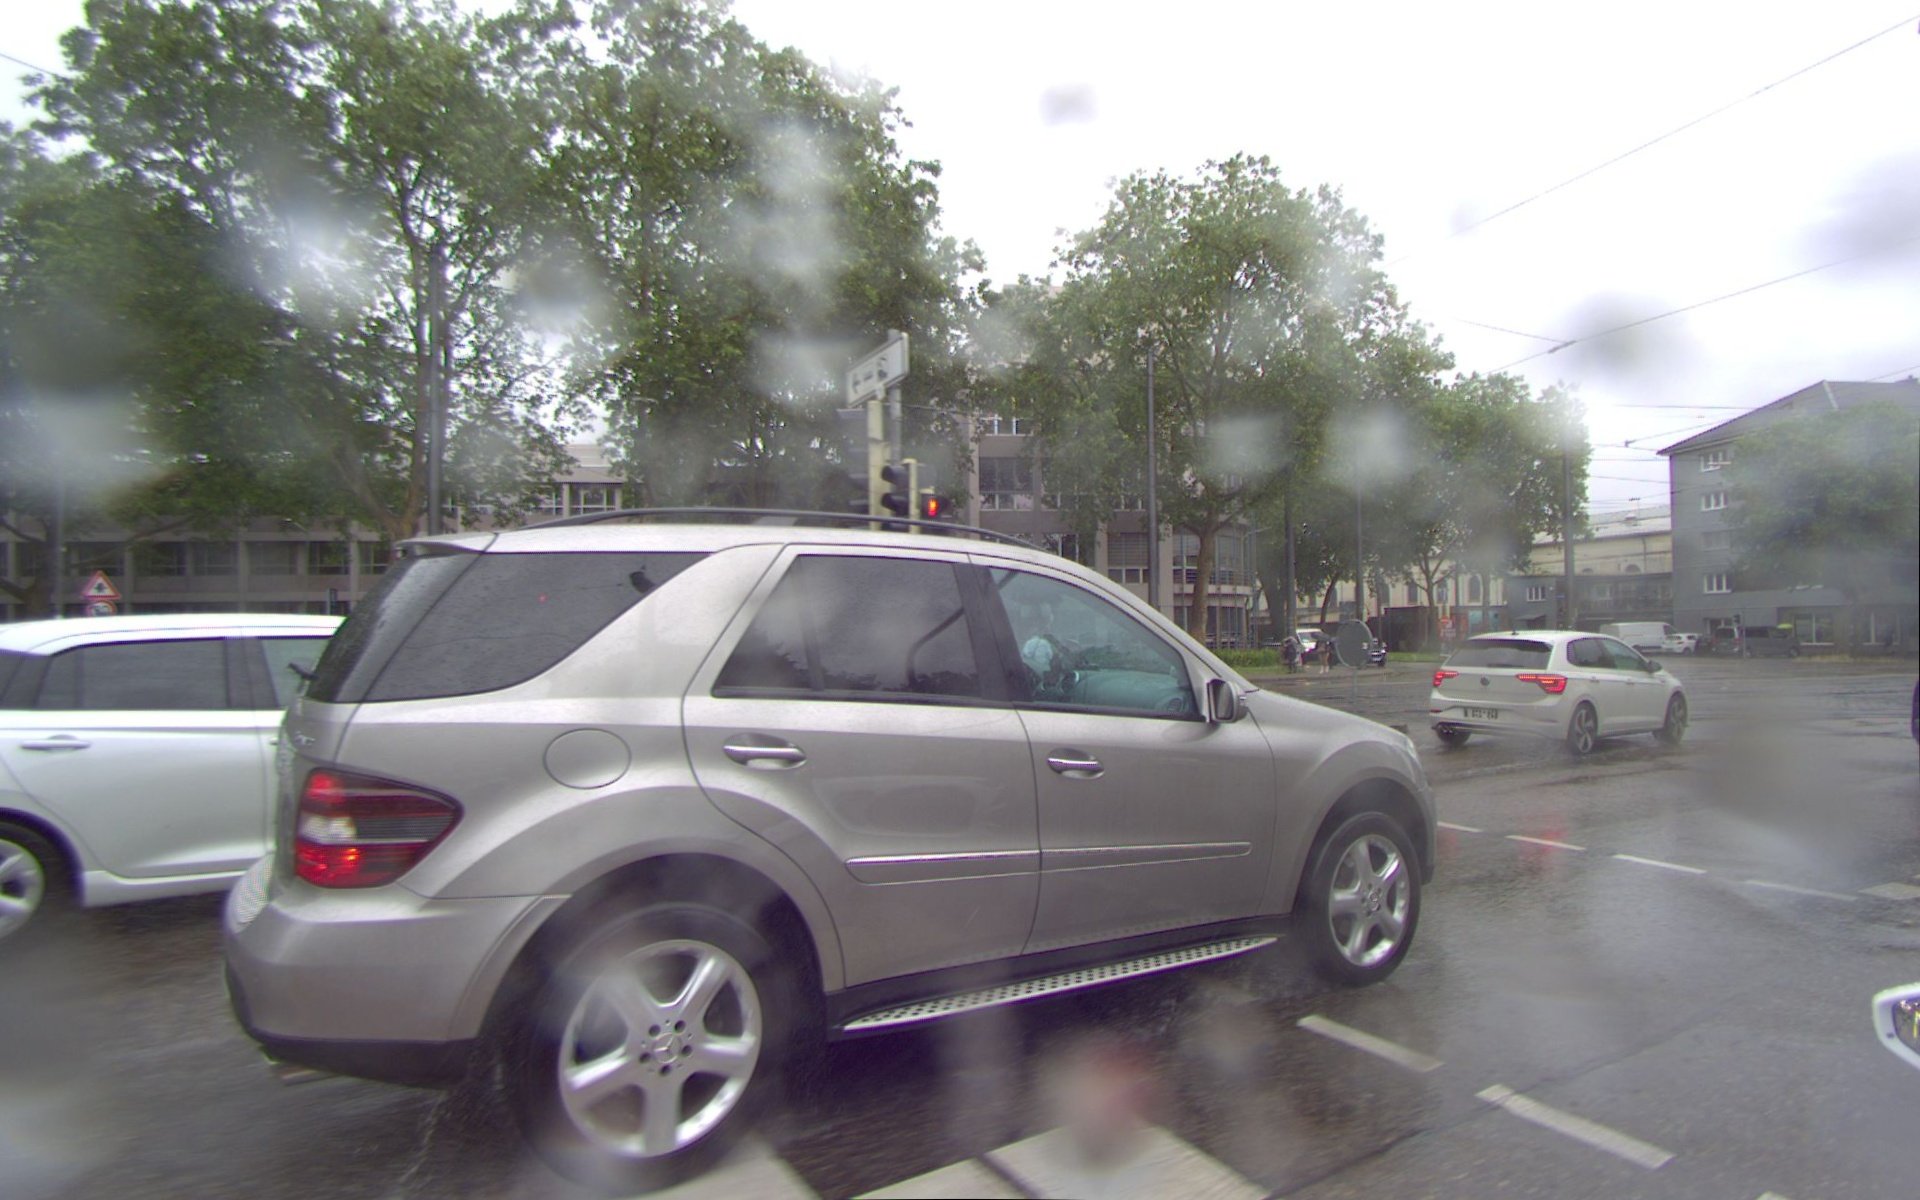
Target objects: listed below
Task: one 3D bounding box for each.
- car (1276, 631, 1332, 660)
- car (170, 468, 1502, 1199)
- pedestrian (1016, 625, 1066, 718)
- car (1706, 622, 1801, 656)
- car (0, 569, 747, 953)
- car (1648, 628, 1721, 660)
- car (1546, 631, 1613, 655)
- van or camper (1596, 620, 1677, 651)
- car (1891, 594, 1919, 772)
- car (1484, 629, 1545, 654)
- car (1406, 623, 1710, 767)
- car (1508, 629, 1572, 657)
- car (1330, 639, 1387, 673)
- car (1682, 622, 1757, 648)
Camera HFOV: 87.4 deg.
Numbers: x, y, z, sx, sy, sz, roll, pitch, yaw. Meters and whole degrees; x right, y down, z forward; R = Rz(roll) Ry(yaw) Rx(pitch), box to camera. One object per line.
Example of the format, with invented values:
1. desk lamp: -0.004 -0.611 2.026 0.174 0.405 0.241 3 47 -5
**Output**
1. car: 22.282 2.920 65.222 1.967 1.795 3.997 0 -2 -6
2. car: -0.078 0.590 4.036 4.626 1.668 1.899 0 -1 -31
3. pedestrian: 1.452 1.265 18.003 0.721 1.631 0.718 -1 -1 19
4. car: 49.253 2.389 62.377 4.312 2.040 2.067 0 0 -2
5. car: -3.419 0.699 5.617 4.026 1.608 1.793 0 -1 -31
6. car: 48.760 2.952 67.626 3.934 2.040 1.994 0 -1 -16
7. car: 46.539 3.254 75.531 3.926 1.635 1.998 2 -2 -7
8. van or camper: 47.285 2.467 70.278 4.570 2.102 1.997 1 -1 -9
9. car: 11.455 0.806 10.200 4.140 1.732 1.793 0 0 -30
10. car: 45.666 3.415 82.767 3.920 1.954 2.000 0 0 2
11. car: 7.750 1.087 12.906 4.148 1.557 1.795 1 -2 -35
12. car: 46.134 3.436 79.936 3.922 2.040 1.999 2 -1 -2
13. car: 23.236 3.252 58.706 1.768 1.795 4.001 -2 -1 1
14. car: 49.575 2.247 65.573 3.934 1.639 1.921 0 -1 -16
